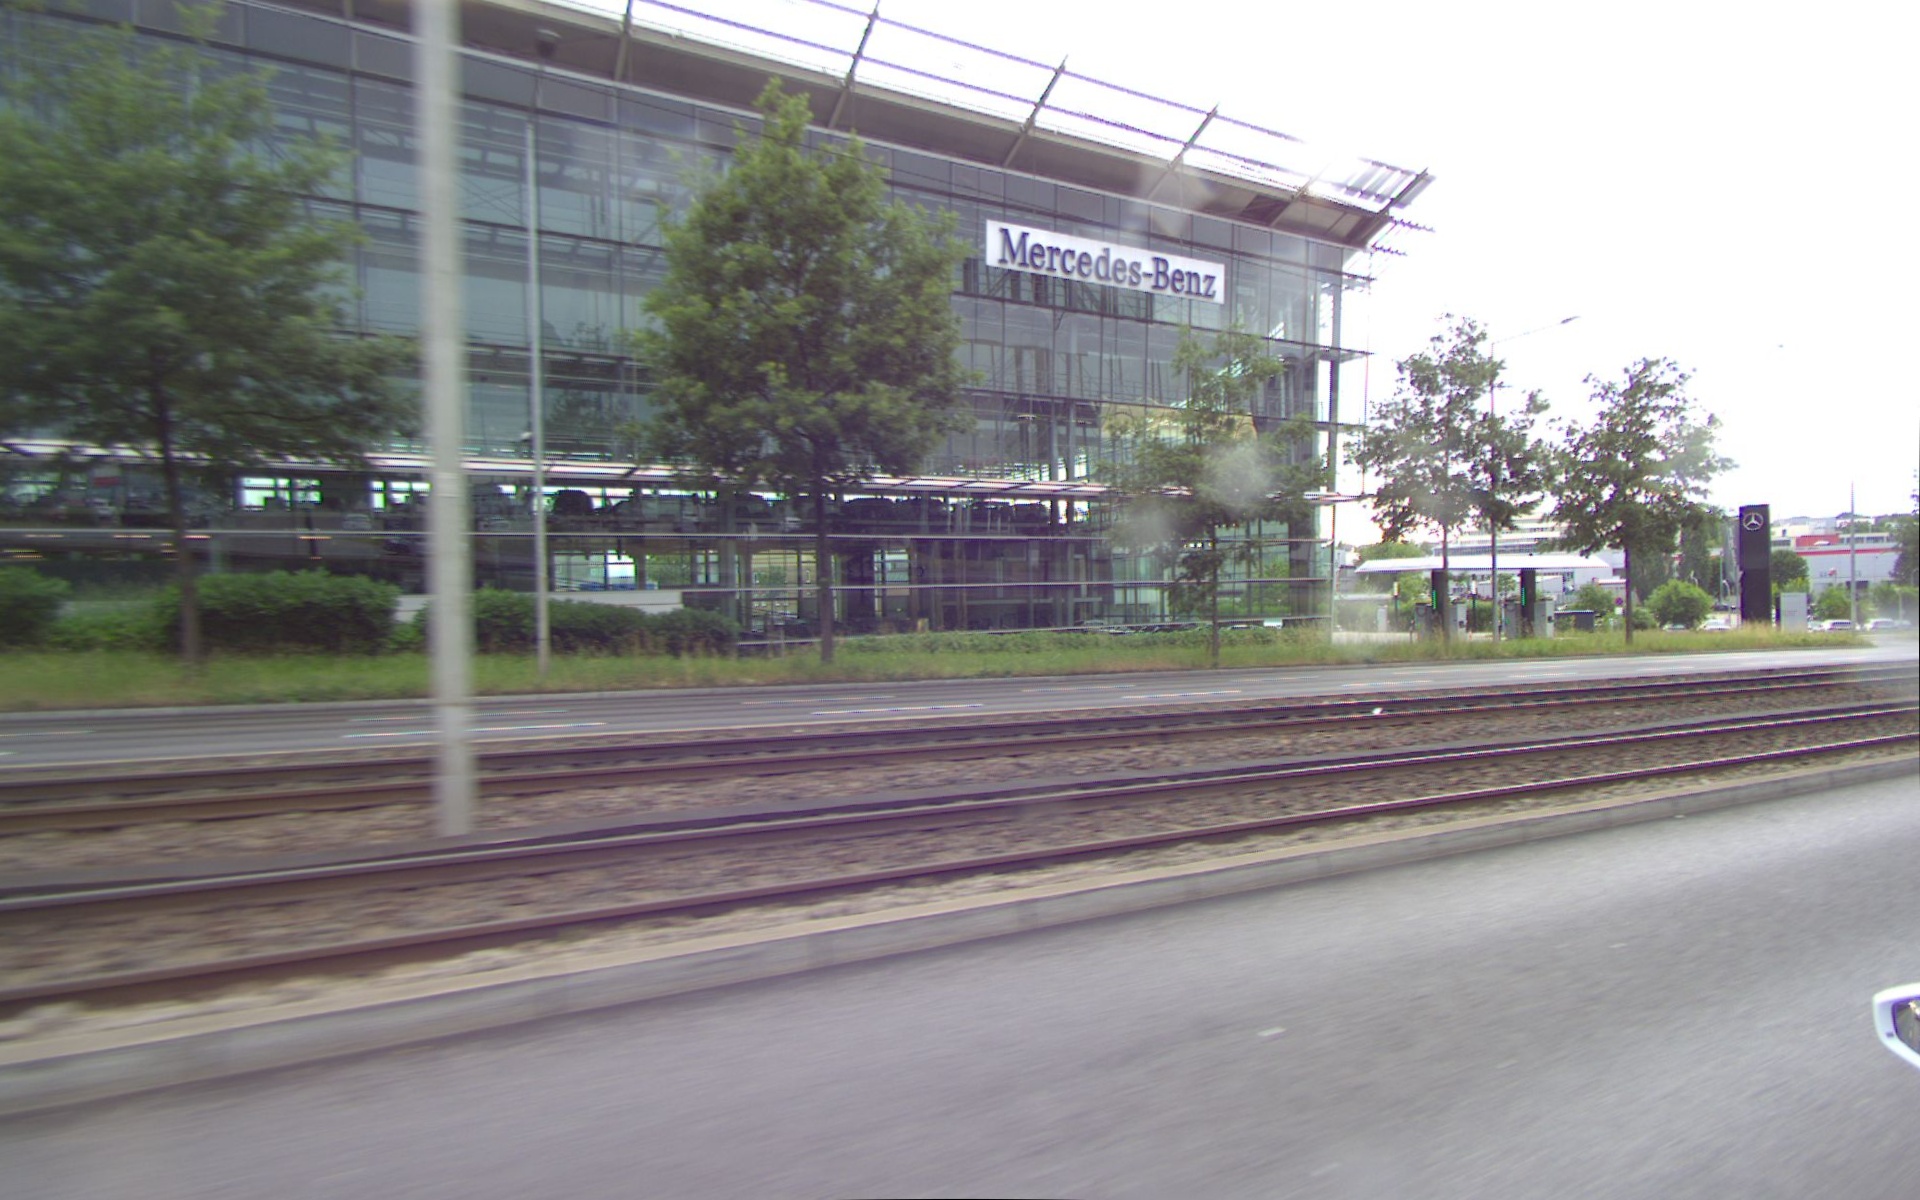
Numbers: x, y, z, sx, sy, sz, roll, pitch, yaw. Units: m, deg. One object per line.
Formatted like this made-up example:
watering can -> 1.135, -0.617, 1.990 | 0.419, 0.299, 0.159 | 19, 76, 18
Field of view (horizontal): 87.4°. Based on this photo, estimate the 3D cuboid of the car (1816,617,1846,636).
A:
car -> 74.441, 2.292, 85.883 | 1.730, 1.514, 3.983 | 3, 0, 39

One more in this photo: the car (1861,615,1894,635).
car -> 76.647, 2.078, 83.958 | 1.730, 1.514, 3.983 | 3, 0, 39

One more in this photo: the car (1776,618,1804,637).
car -> 72.463, 2.376, 87.726 | 1.730, 1.514, 3.983 | 3, 0, 39

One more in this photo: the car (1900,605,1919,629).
car -> 68.679, 1.249, 70.979 | 3.946, 1.672, 1.987 | 2, 0, -25
